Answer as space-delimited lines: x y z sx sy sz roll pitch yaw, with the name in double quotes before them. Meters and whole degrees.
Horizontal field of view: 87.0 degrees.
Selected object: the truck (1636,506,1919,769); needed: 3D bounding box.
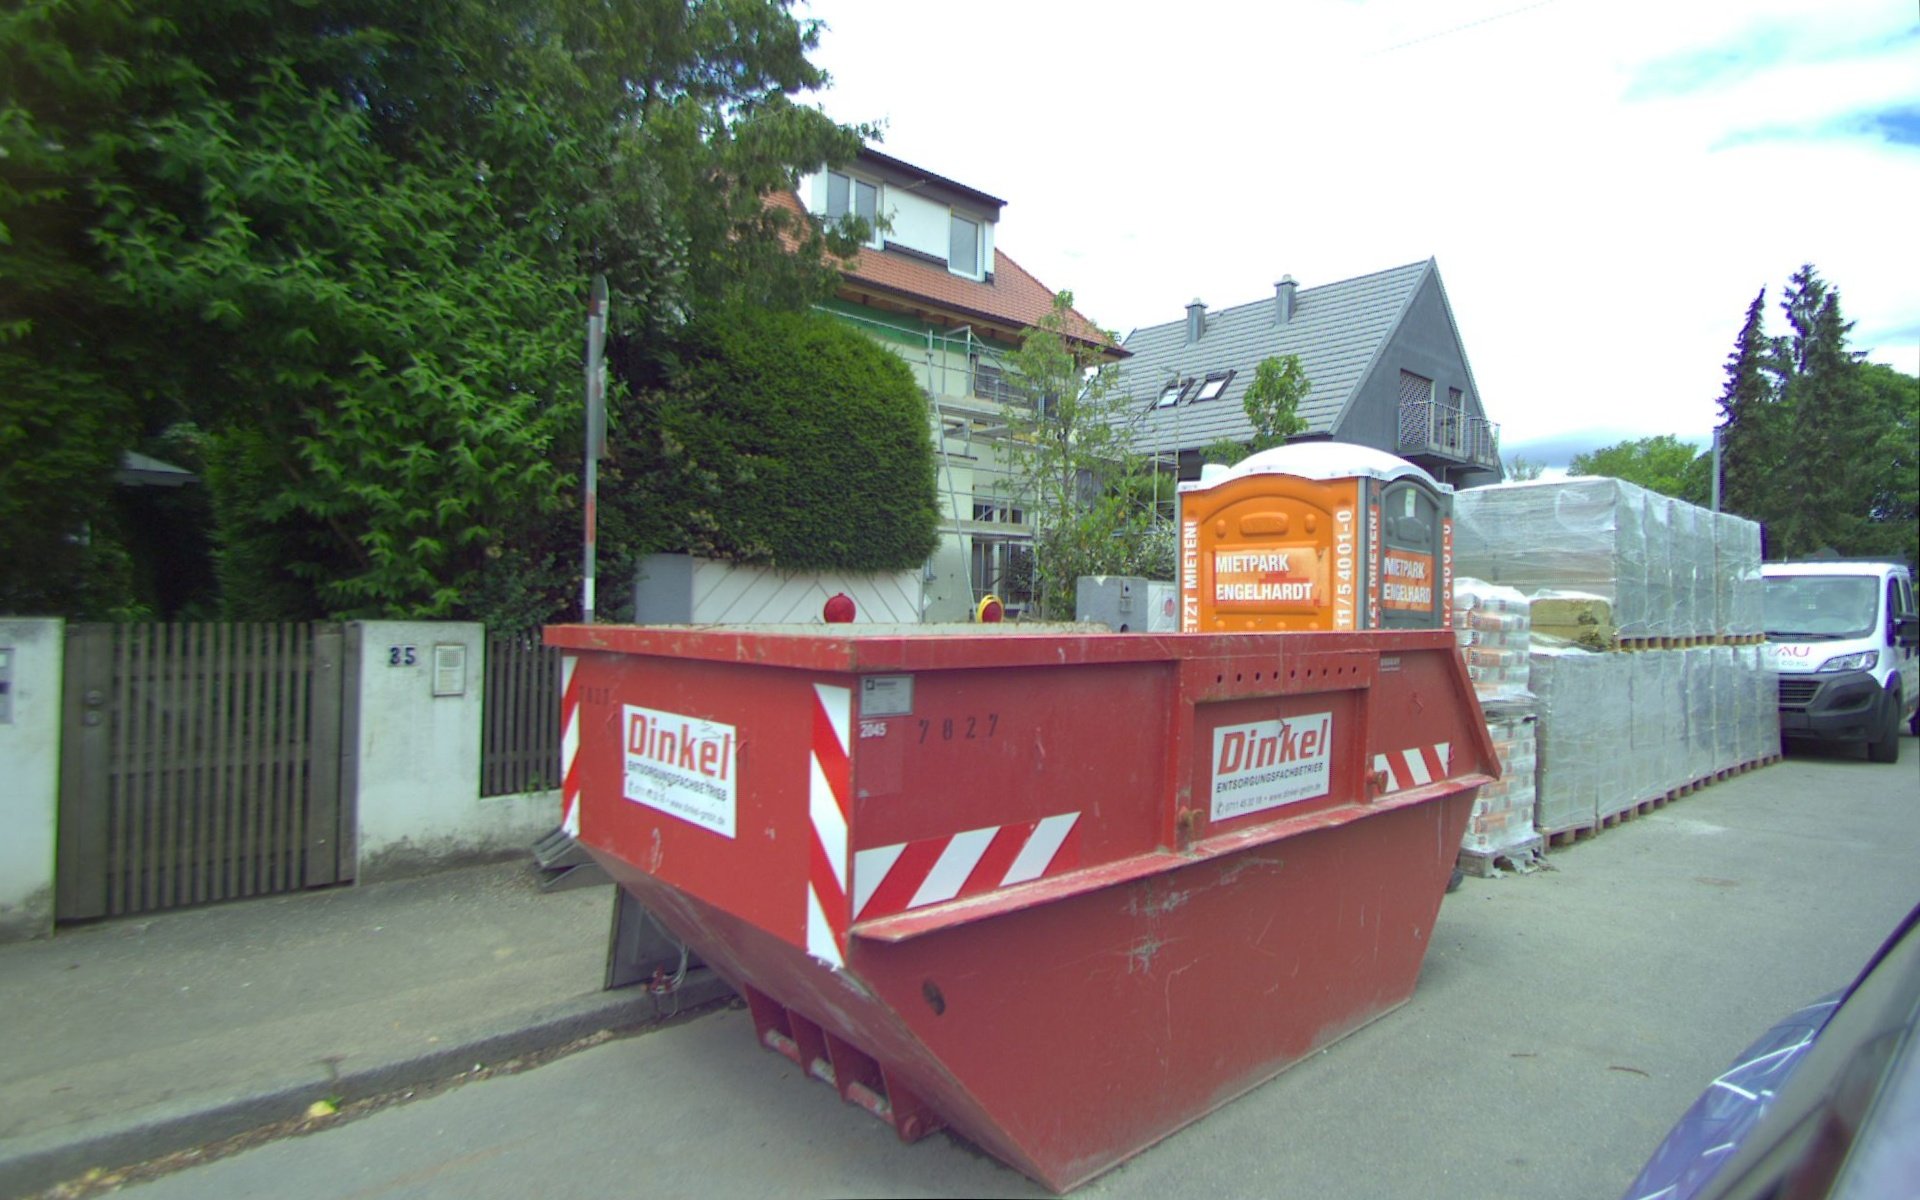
"truck" 11.003 0.411 12.857 7.300 2.503 2.191 1 -1 -41
